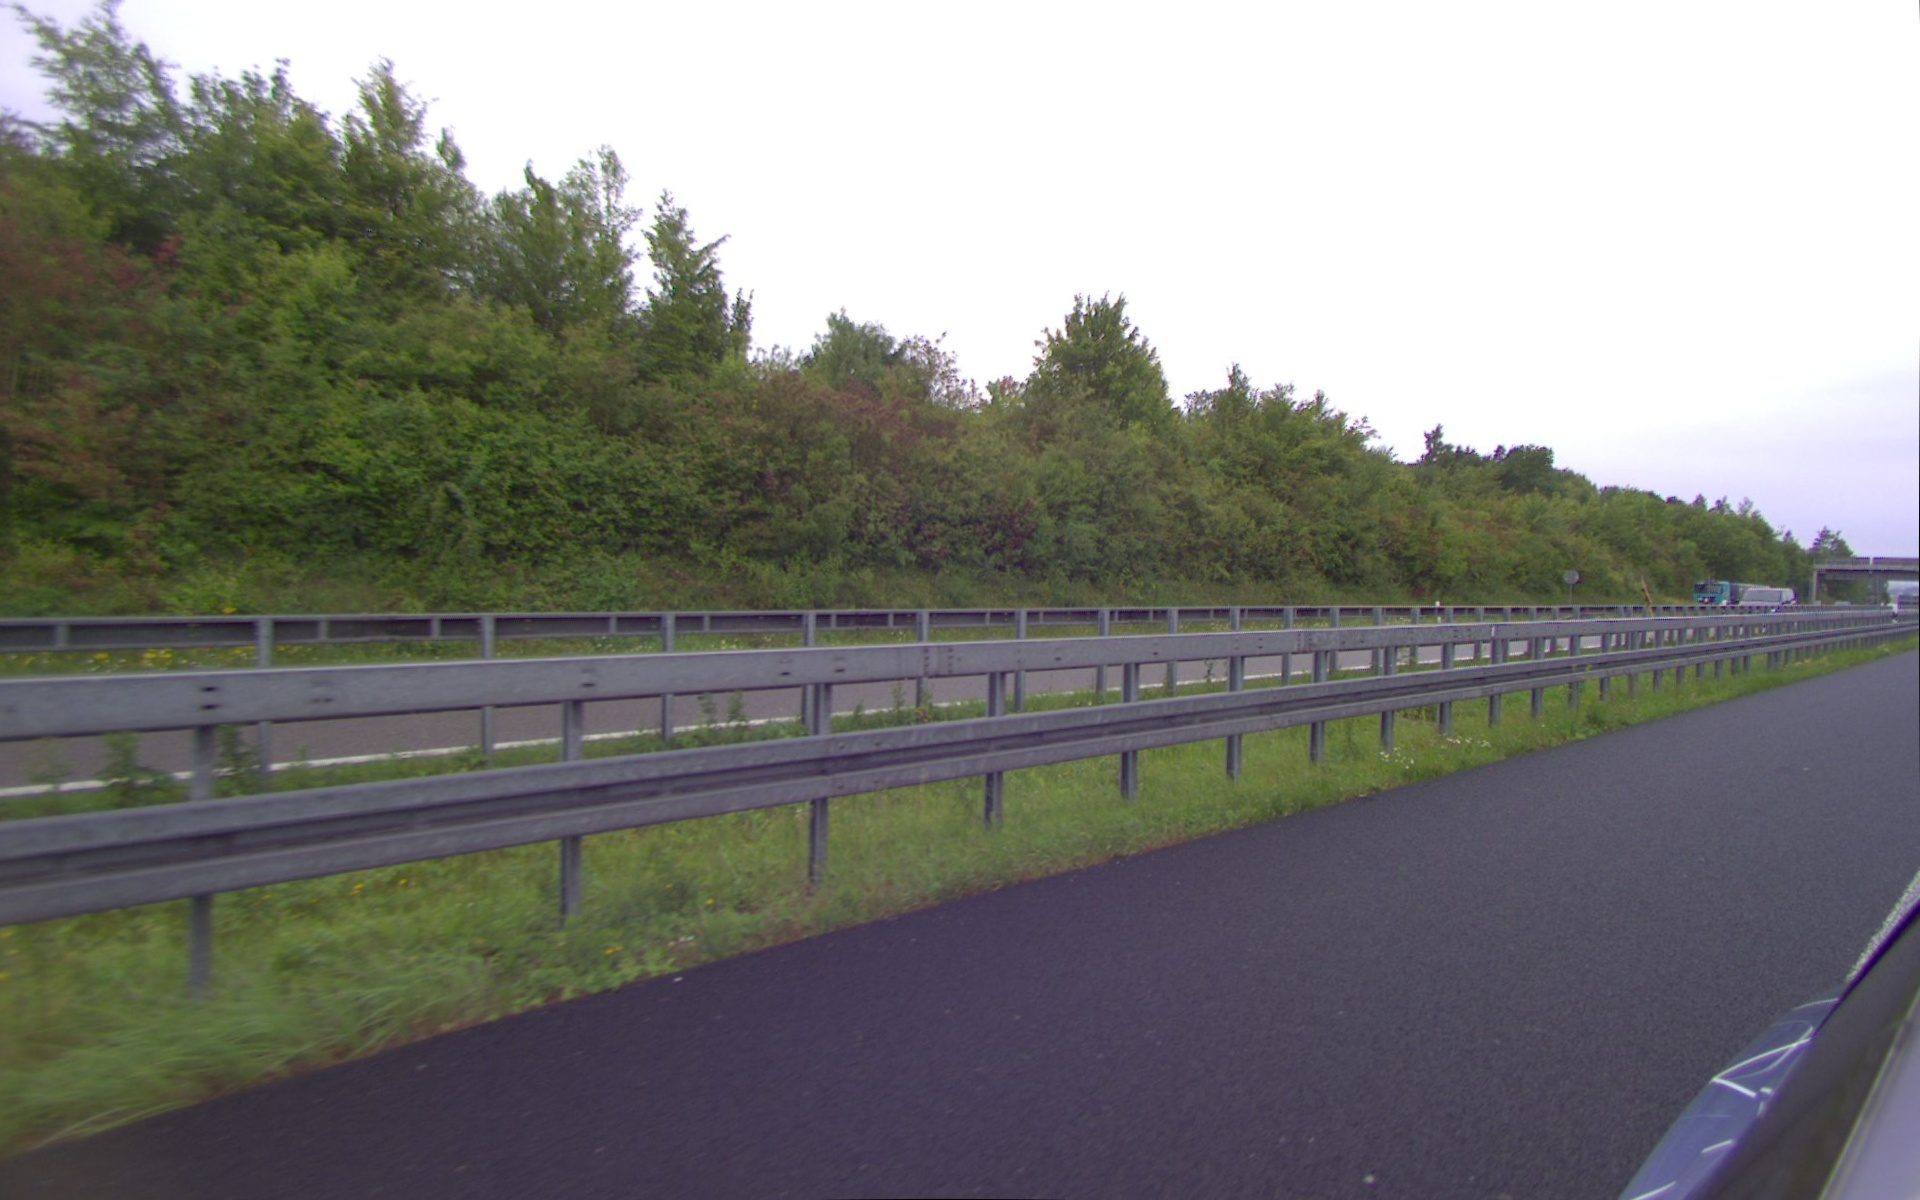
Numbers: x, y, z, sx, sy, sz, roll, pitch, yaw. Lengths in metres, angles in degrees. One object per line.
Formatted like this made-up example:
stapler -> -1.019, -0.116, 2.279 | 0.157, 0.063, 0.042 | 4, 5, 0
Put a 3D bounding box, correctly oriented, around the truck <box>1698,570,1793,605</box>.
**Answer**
truck -> 80.562, -1.260, 103.674 | 13.085, 3.460, 2.914 | 0, 1, -30
